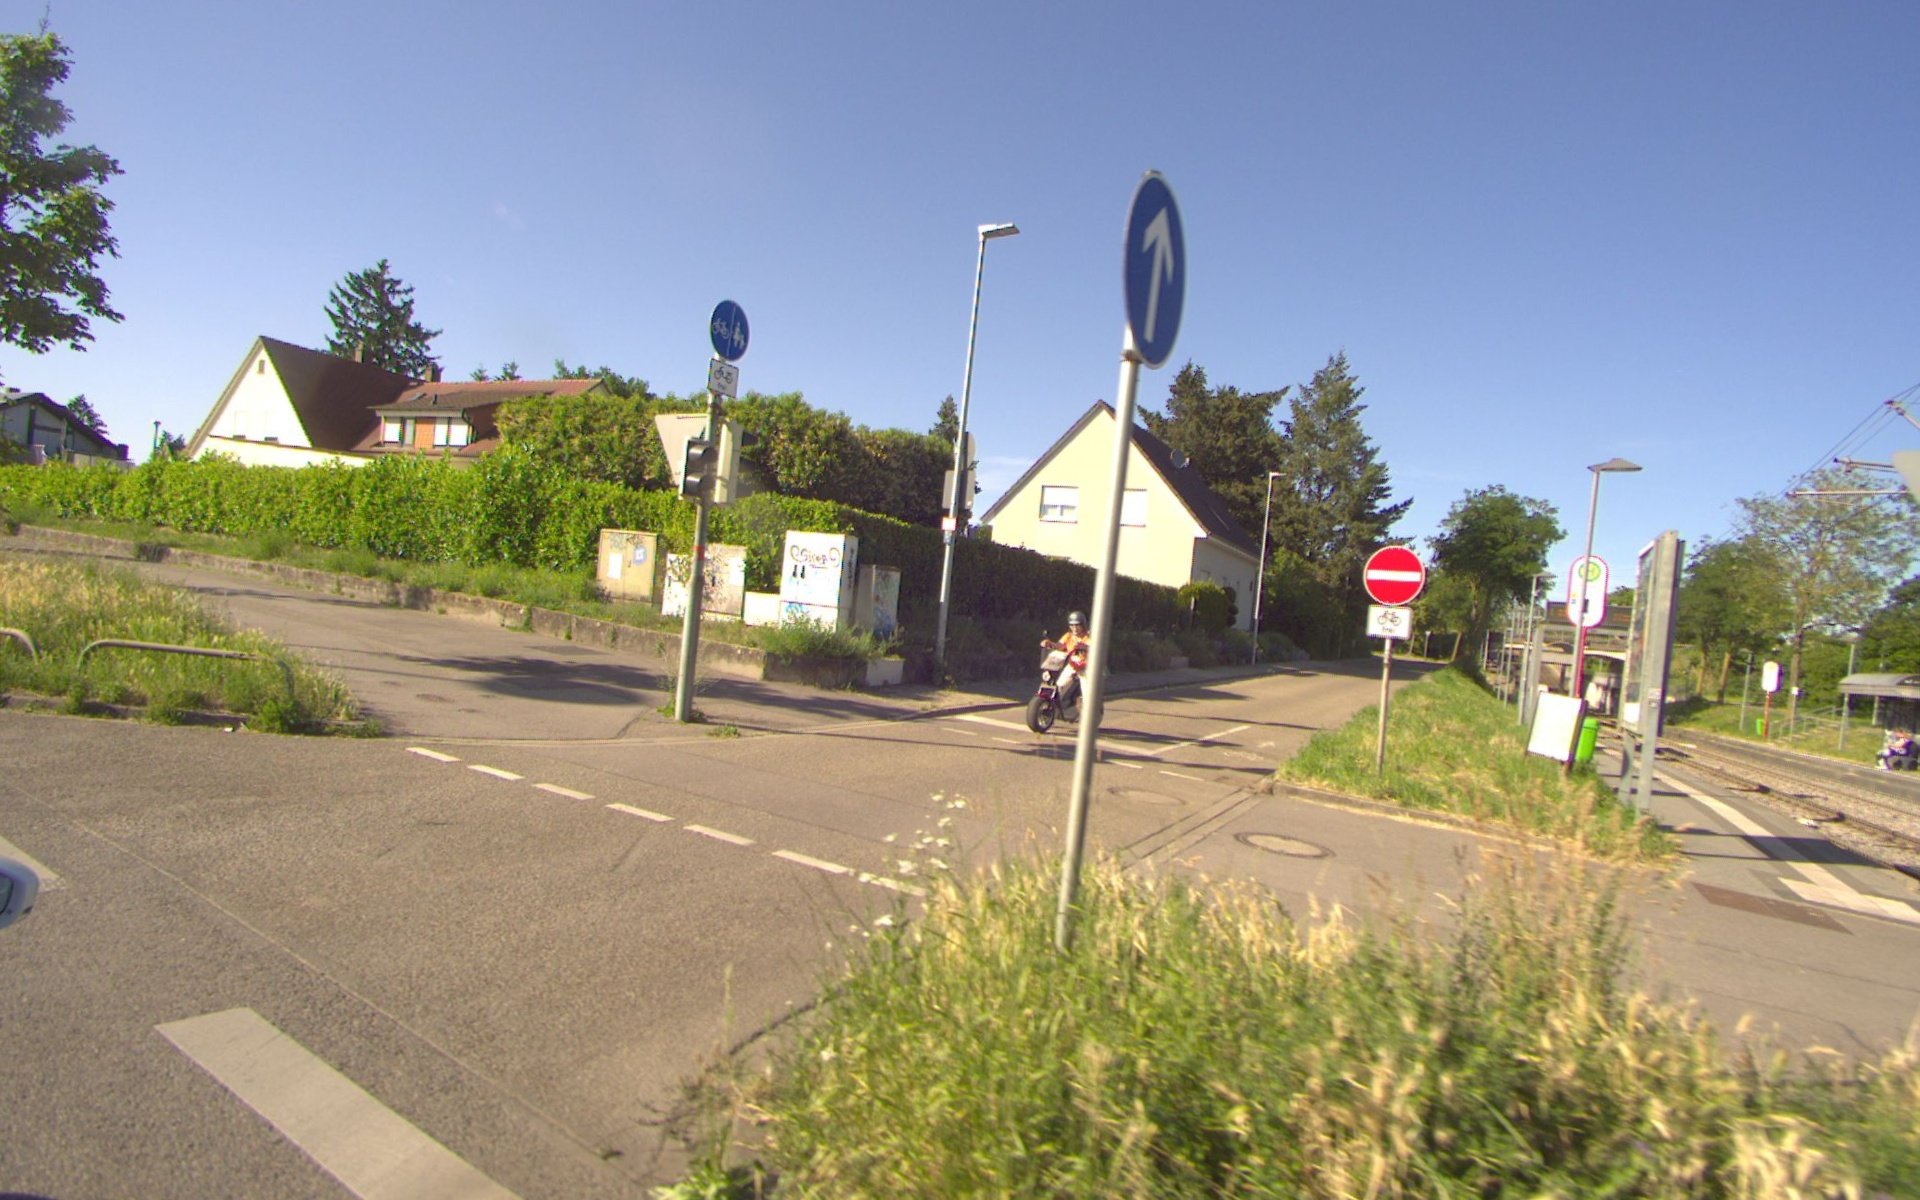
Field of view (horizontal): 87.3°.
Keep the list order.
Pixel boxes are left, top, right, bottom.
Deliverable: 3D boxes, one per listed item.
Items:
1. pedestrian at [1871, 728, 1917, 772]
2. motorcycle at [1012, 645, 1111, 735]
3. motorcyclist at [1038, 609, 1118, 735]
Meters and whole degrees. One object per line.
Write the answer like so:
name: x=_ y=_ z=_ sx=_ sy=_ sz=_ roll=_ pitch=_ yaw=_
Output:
pedestrian: x=29.141 y=4.677 z=31.401 sx=0.925 sy=1.257 sz=0.560 roll=3 pitch=-2 yaw=31
motorcycle: x=1.376 y=1.180 z=13.374 sx=0.444 sy=1.084 sz=1.756 roll=7 pitch=1 yaw=34
motorcyclist: x=1.595 y=0.959 z=13.569 sx=0.689 sy=1.578 sz=0.693 roll=7 pitch=2 yaw=34
